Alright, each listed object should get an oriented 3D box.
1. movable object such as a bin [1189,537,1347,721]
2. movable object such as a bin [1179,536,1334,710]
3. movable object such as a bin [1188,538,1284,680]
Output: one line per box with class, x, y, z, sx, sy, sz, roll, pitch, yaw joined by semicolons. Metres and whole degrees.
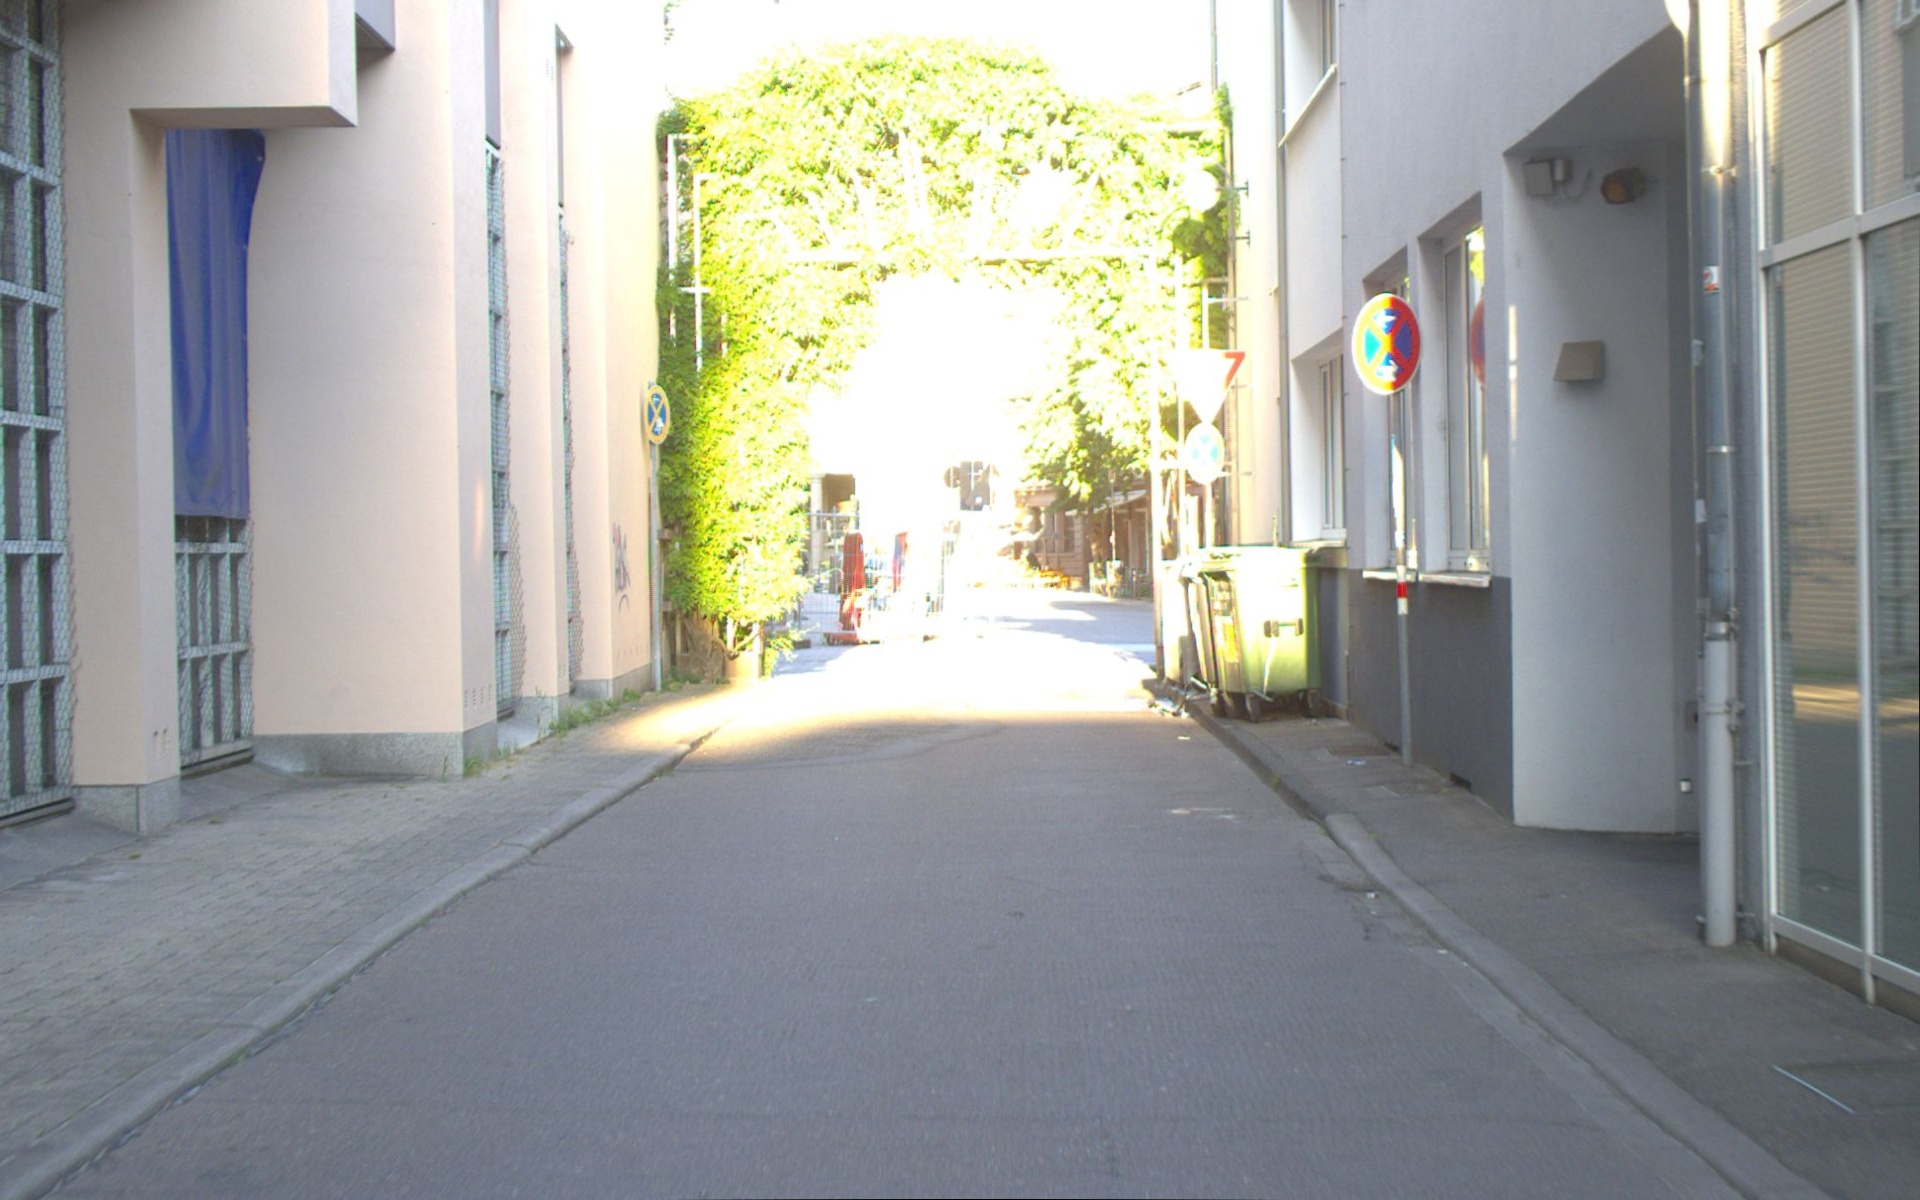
movable object such as a bin;2.414;0.216;27.127;0.937;1.362;1.342;-3;1;-6
movable object such as a bin;2.449;0.176;28.532;1.064;1.362;1.342;-3;1;-2
movable object such as a bin;2.653;0.073;33.180;0.836;1.300;1.290;-3;1;4
